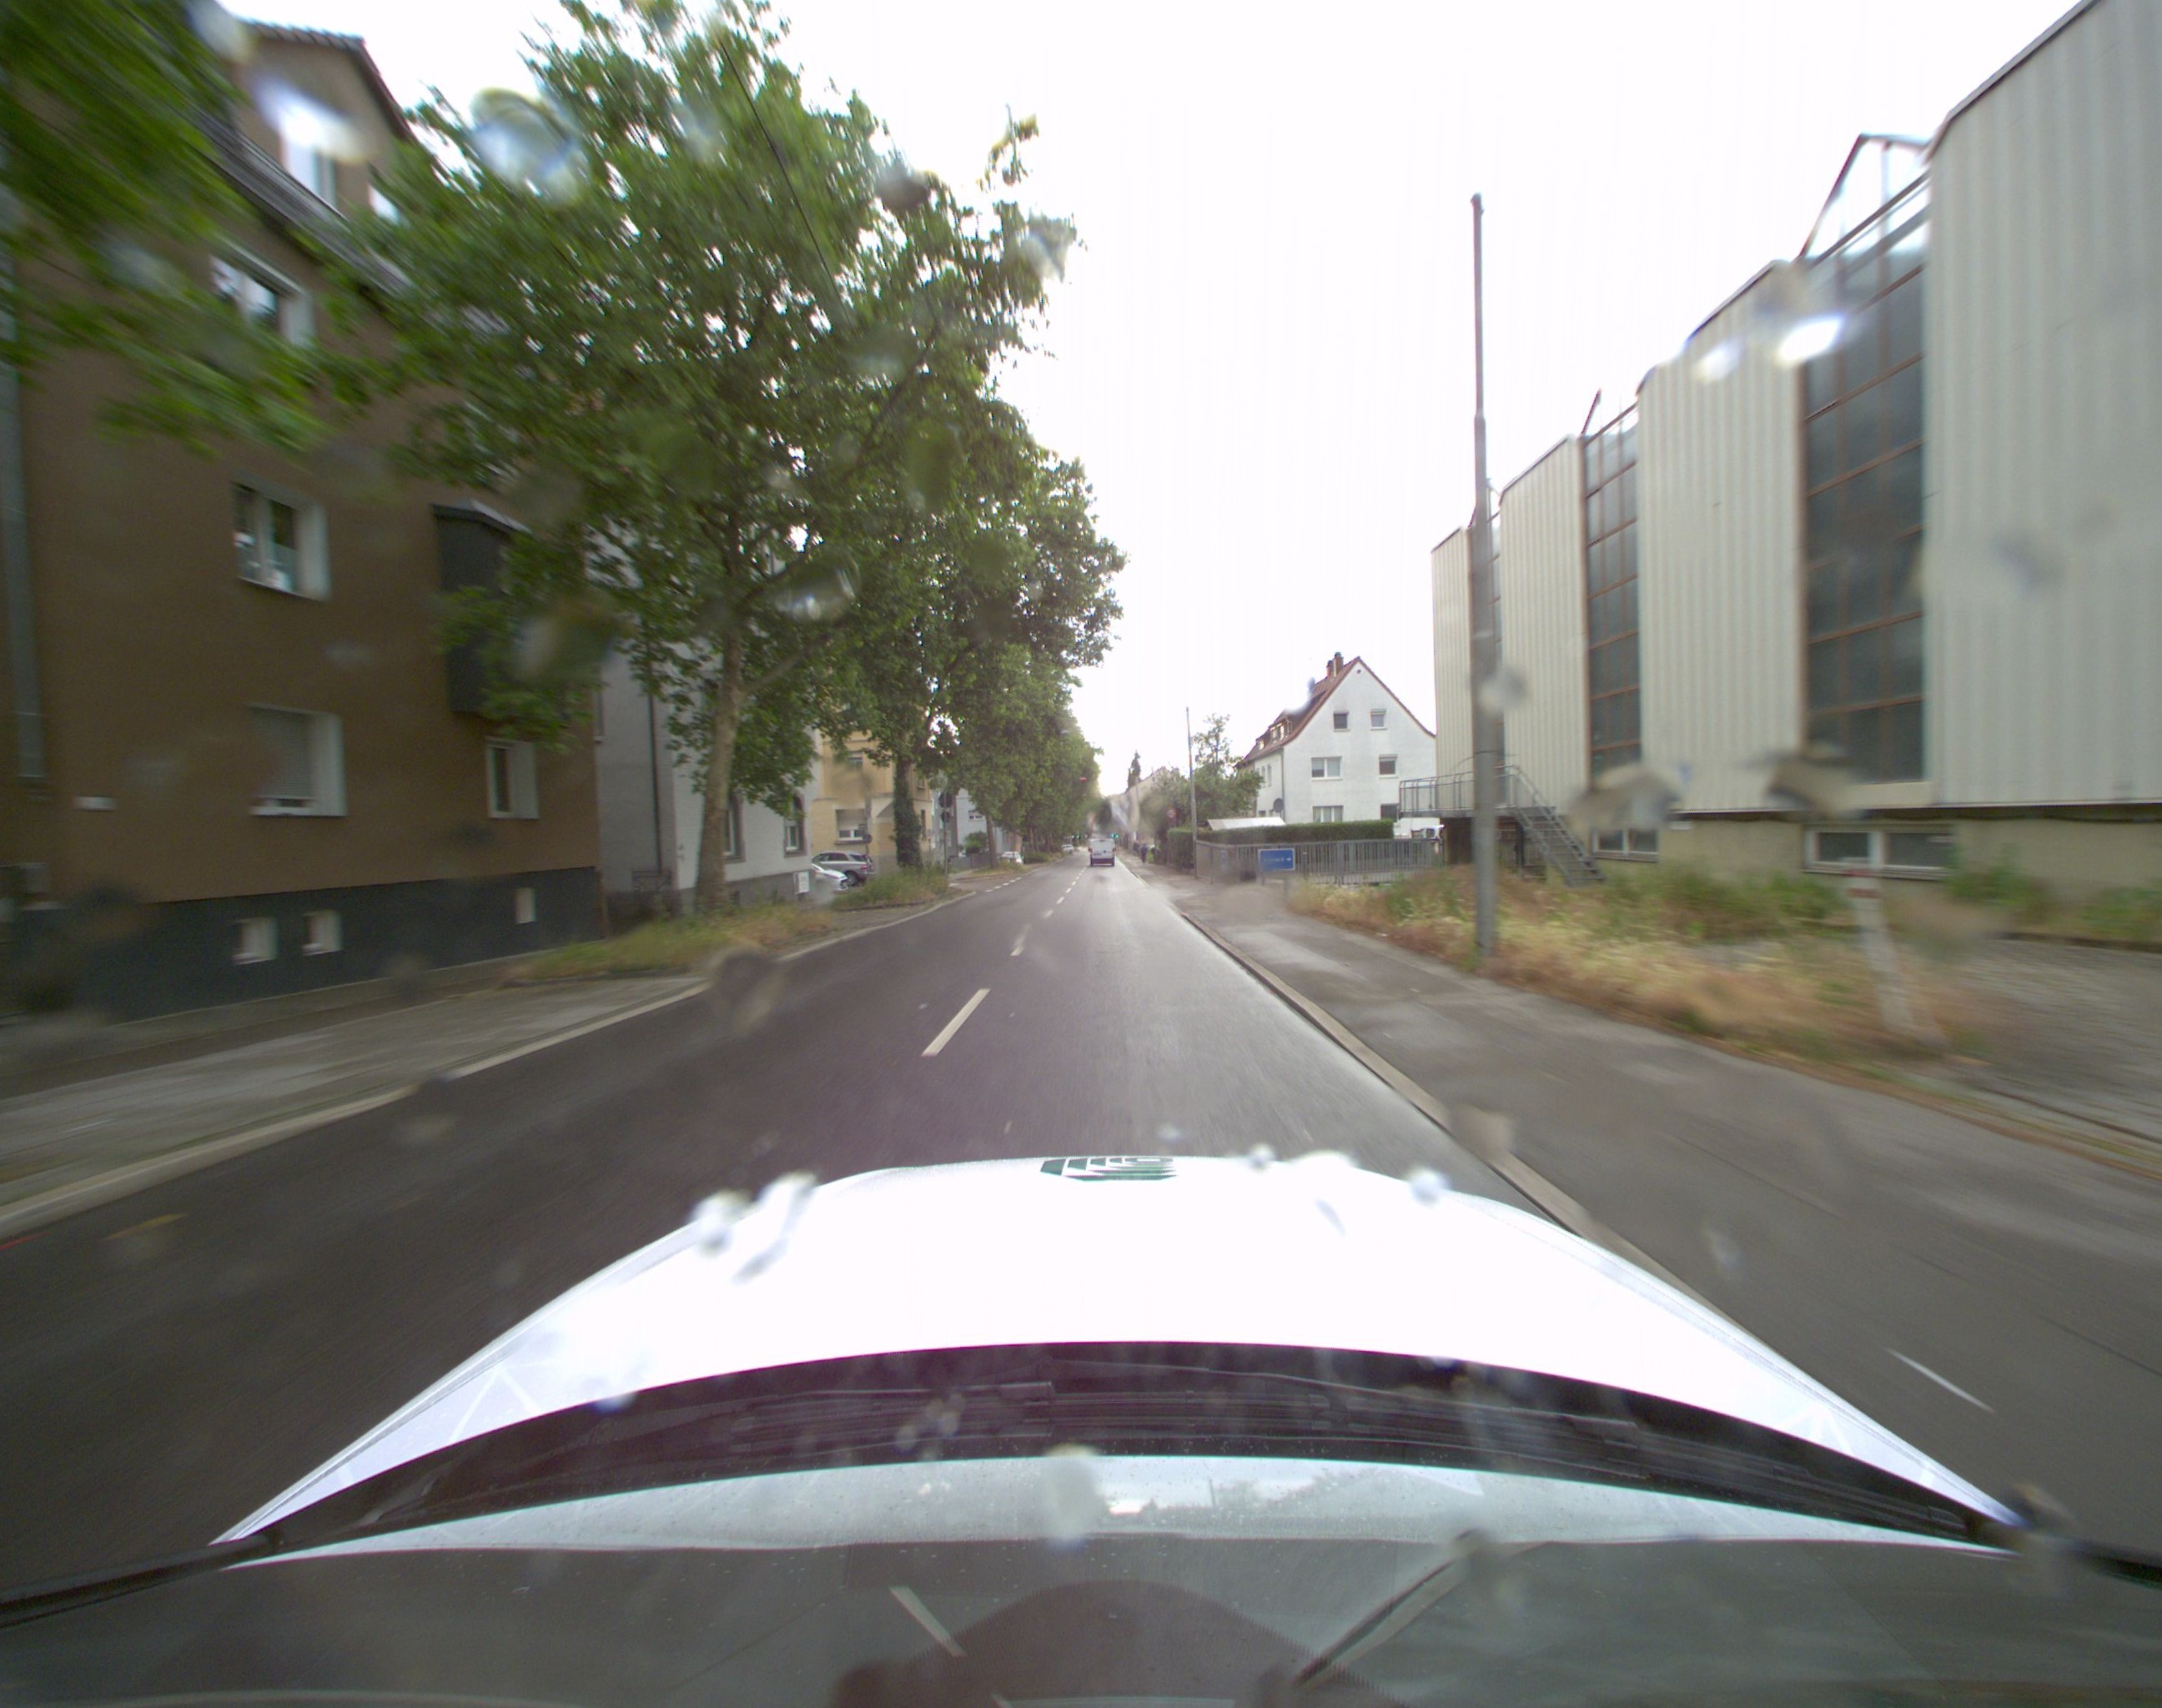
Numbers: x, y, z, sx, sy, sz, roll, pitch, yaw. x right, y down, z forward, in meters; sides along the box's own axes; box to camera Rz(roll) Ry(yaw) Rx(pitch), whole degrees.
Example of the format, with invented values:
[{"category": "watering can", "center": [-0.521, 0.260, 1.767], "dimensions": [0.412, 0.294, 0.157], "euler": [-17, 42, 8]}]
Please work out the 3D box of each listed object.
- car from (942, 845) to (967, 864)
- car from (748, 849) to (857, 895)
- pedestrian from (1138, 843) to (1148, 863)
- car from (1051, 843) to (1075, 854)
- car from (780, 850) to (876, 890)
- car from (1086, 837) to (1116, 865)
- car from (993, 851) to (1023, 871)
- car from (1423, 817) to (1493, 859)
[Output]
[{"category": "car", "center": [-13.374, 0.051, 86.558], "dimensions": [1.868, 1.894, 4.002], "euler": [-2, 1, 1]}, {"category": "car", "center": [-12.553, 0.801, 36.872], "dimensions": [4.182, 1.892, 2.000], "euler": [-2, 0, 0]}, {"category": "pedestrian", "center": [5.289, -0.079, 69.525], "dimensions": [0.813, 1.698, 0.729], "euler": [-1, 0, -1]}, {"category": "car", "center": [-3.153, -0.971, 140.881], "dimensions": [1.974, 1.709, 4.287], "euler": [-1, 0, 35]}, {"category": "car", "center": [-12.904, 0.802, 41.759], "dimensions": [4.182, 1.892, 2.000], "euler": [-2, 0, 0]}, {"category": "car", "center": [1.664, -0.277, 68.805], "dimensions": [2.339, 2.160, 4.777], "euler": [-2, 2, 0]}, {"category": "car", "center": [-5.753, 0.498, 64.351], "dimensions": [1.987, 1.452, 4.209], "euler": [-2, 0, 0]}, {"category": "car", "center": [19.593, -0.811, 42.520], "dimensions": [1.831, 2.013, 4.001], "euler": [-2, 0, 1]}]
